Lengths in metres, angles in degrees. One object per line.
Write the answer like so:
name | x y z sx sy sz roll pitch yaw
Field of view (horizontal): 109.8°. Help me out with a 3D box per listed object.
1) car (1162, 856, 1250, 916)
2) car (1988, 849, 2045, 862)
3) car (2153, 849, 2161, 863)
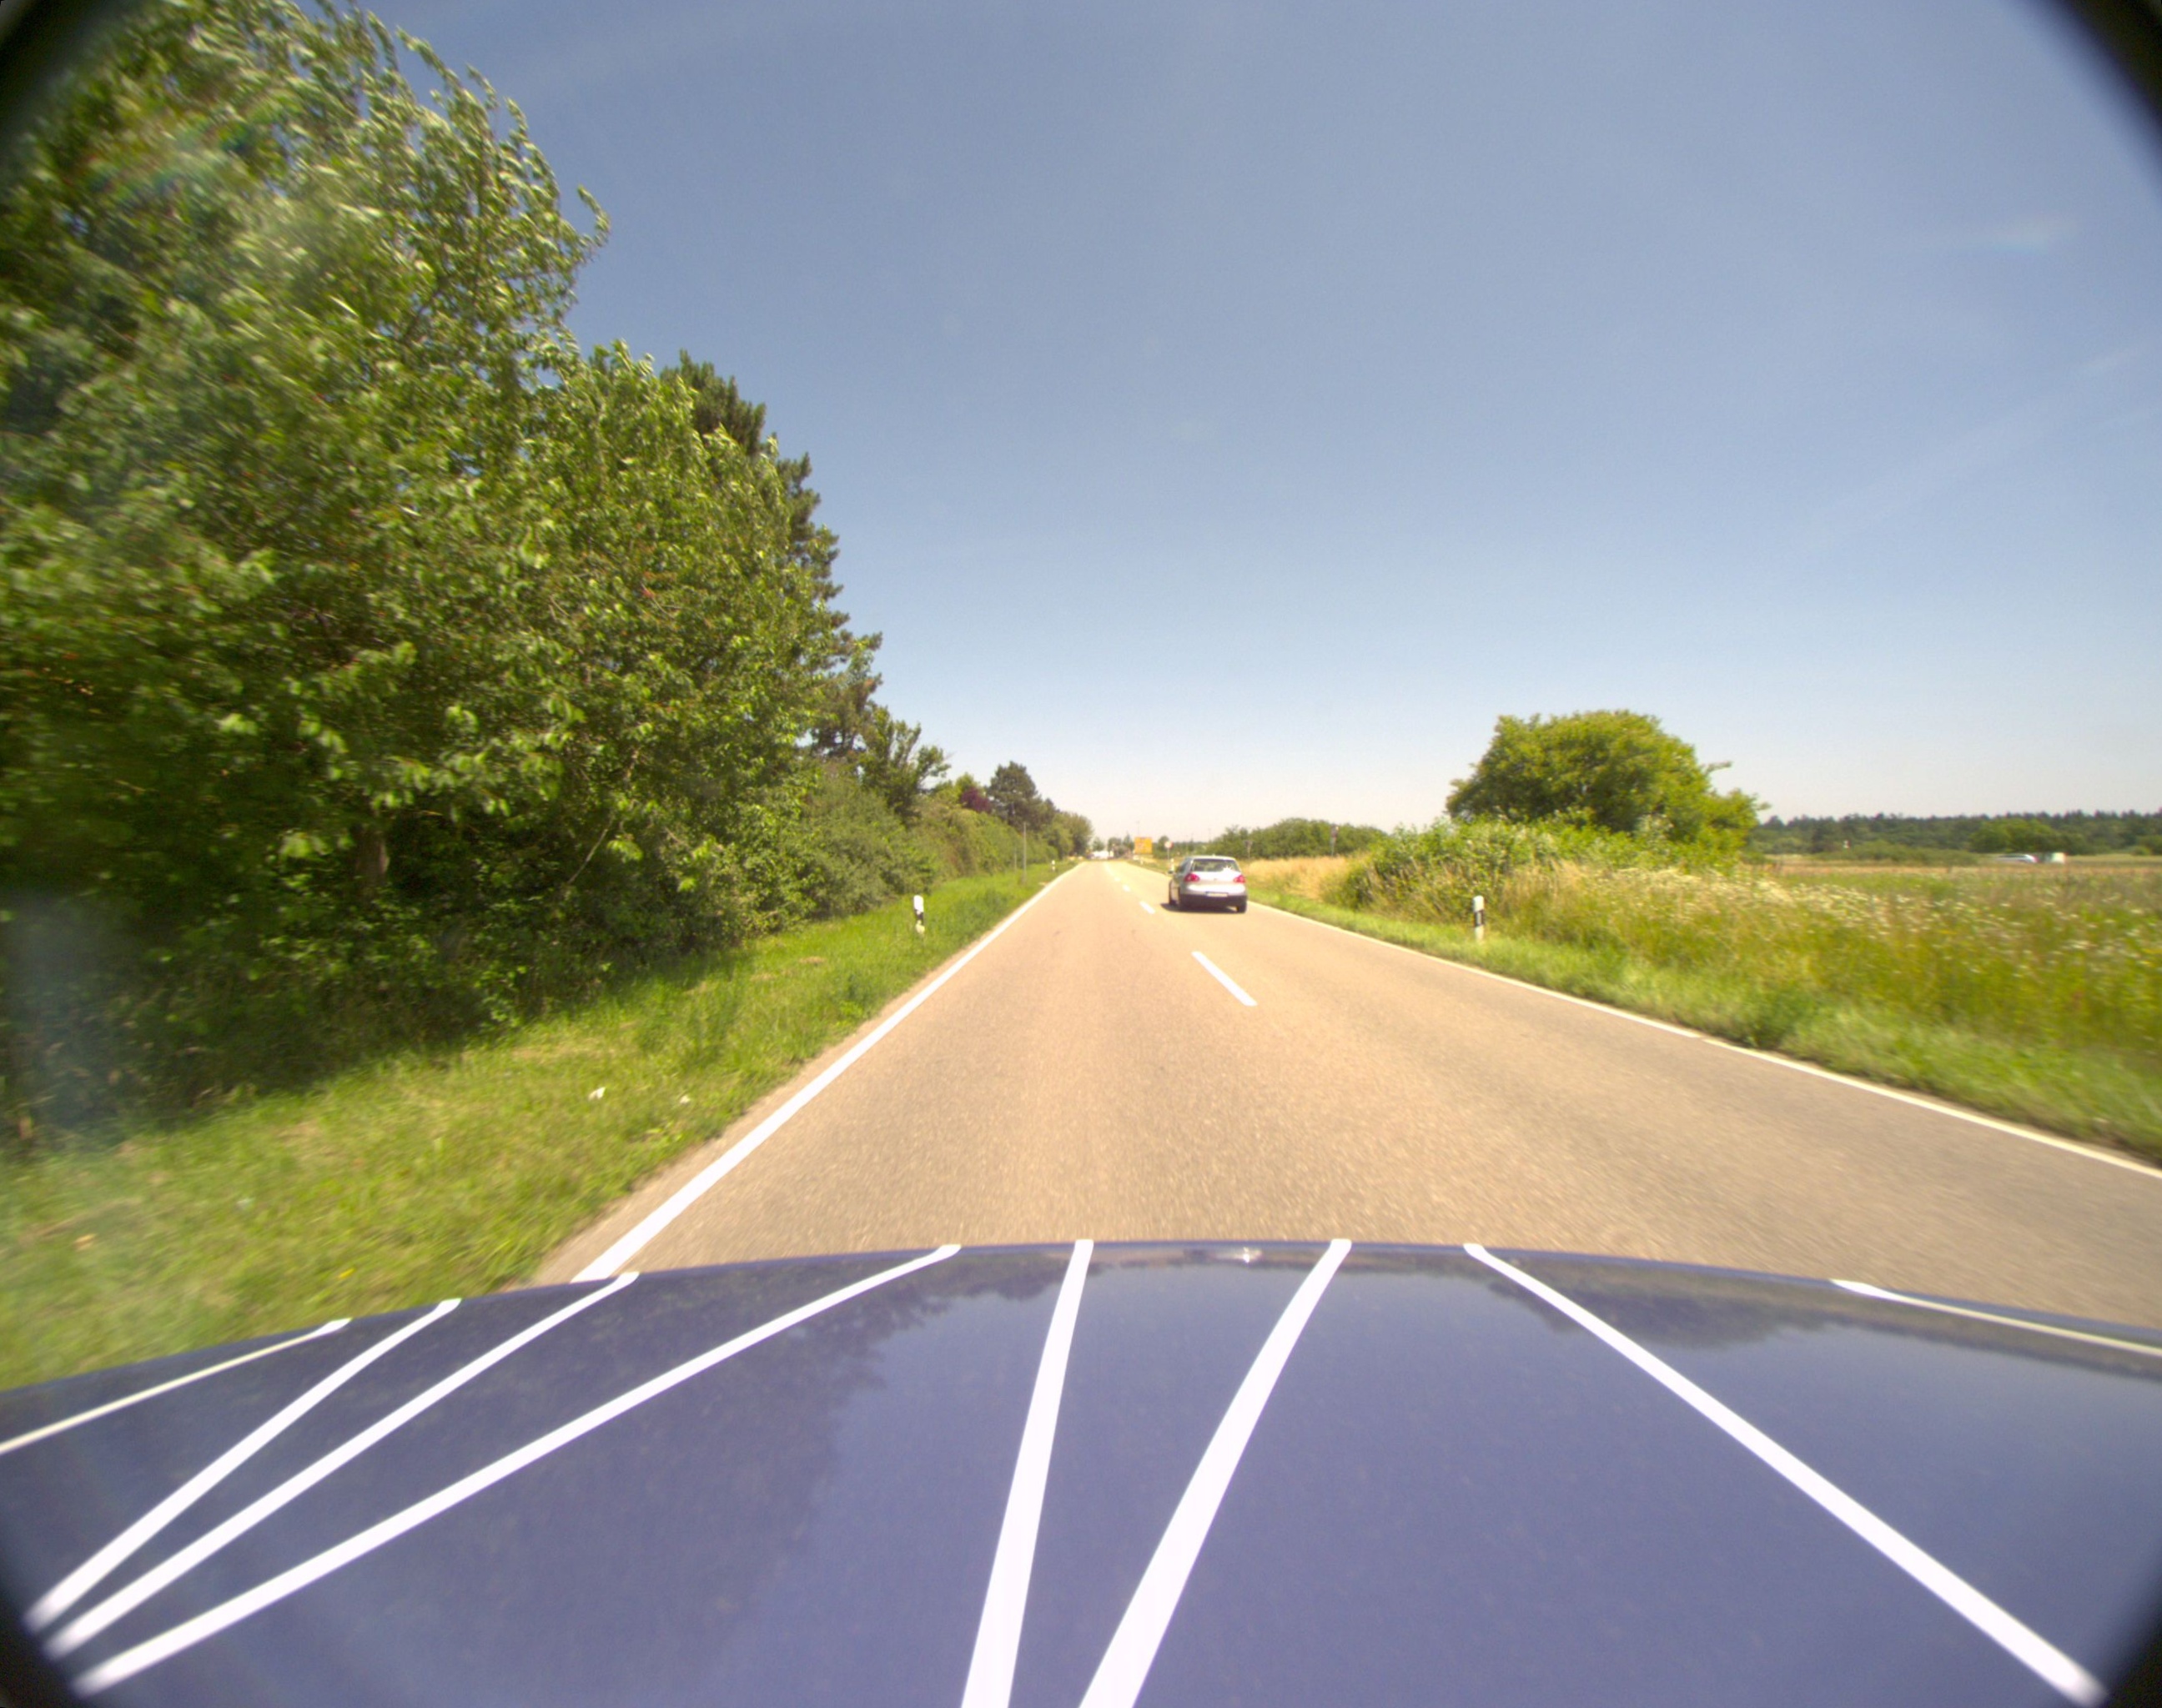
car | 3.349 0.799 21.157 1.682 1.413 4.421 2 0 0
car | 125.839 0.180 102.260 2.003 1.681 4.569 -1 1 -28
car | 128.892 0.206 88.285 2.003 1.681 4.841 -1 1 -29
